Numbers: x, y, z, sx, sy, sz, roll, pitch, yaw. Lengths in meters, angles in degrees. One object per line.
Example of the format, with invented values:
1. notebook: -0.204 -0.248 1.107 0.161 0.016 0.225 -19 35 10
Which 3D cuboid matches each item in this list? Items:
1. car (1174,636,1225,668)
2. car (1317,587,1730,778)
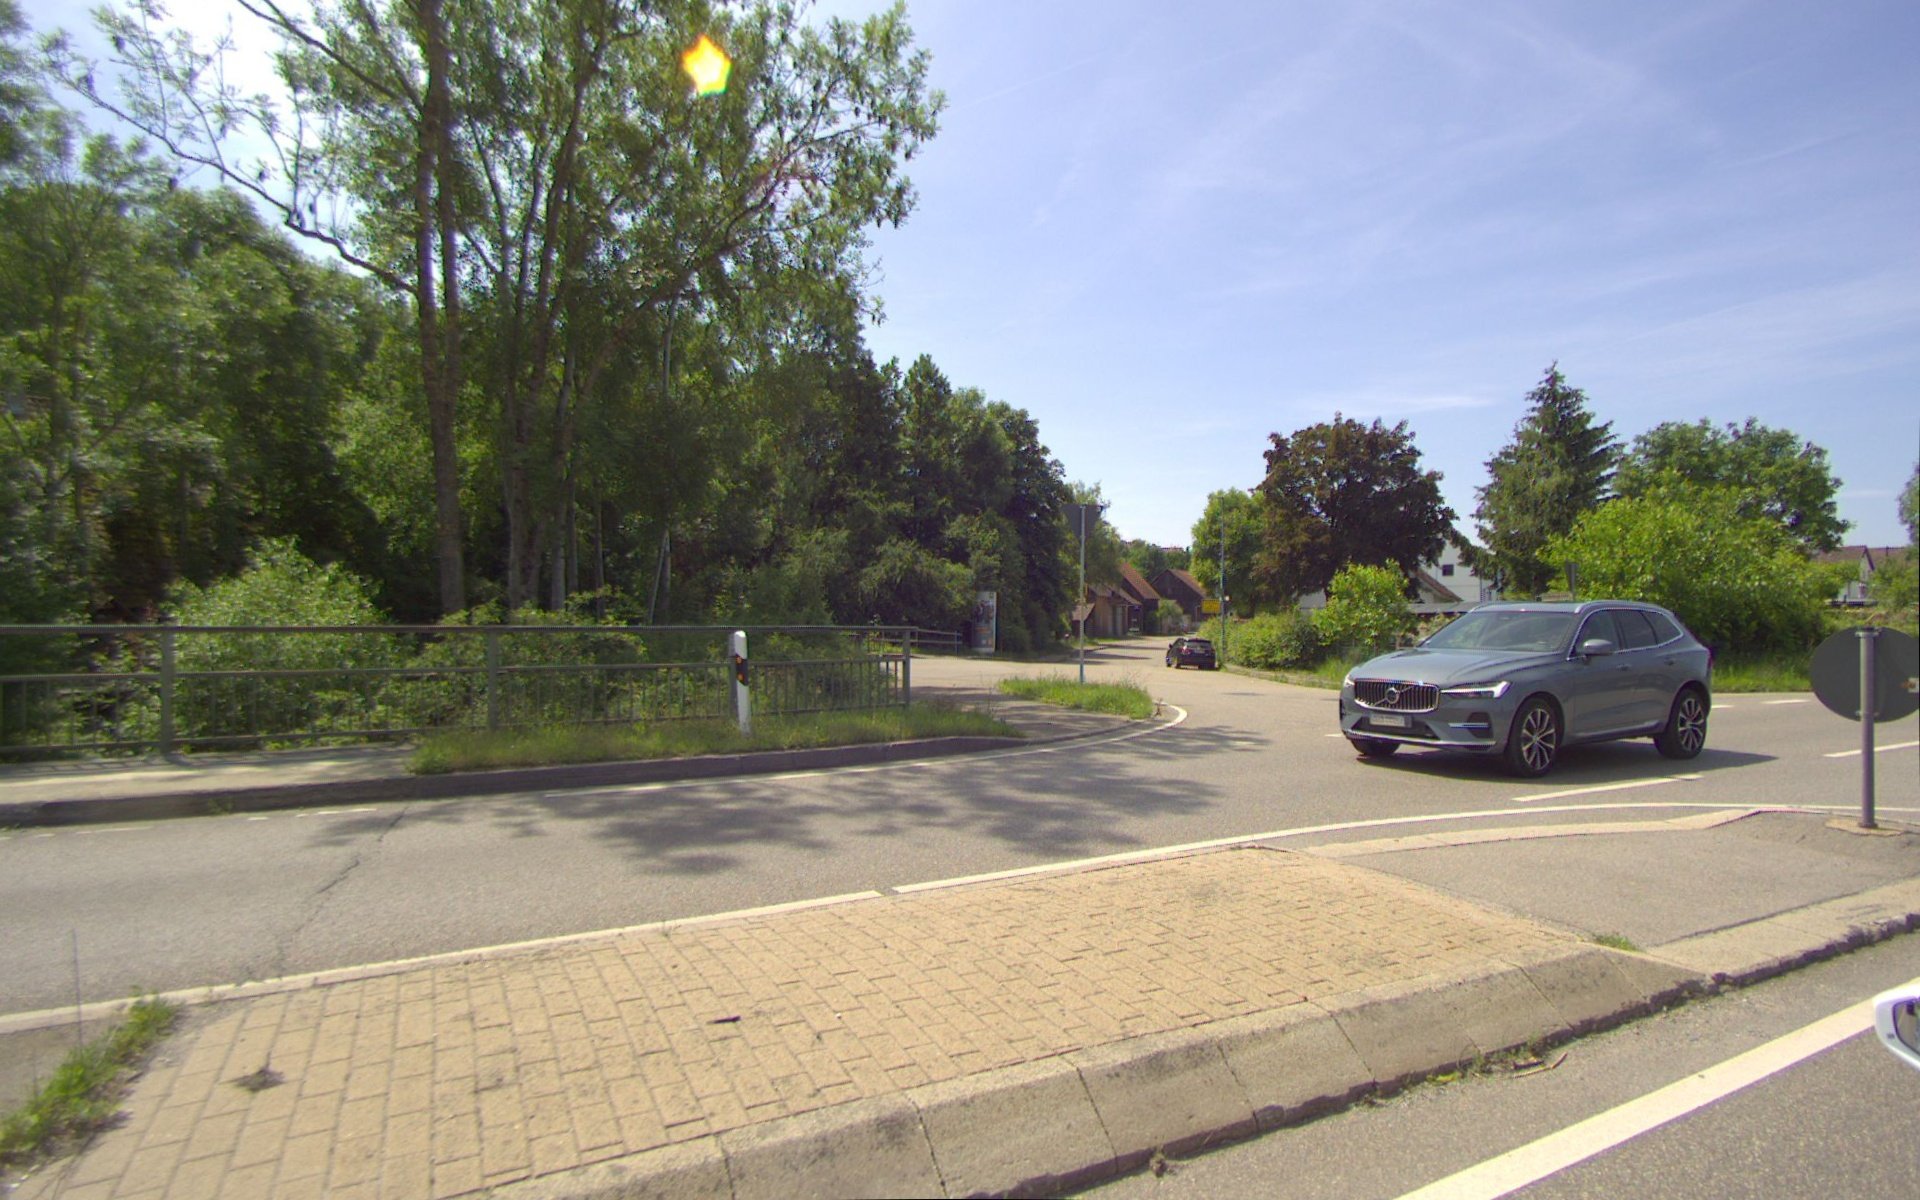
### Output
1. car: 11.320 2.442 47.732 1.762 1.375 4.003 2 -2 5
2. car: 6.089 0.750 10.753 4.380 1.676 1.939 1 -1 -30
